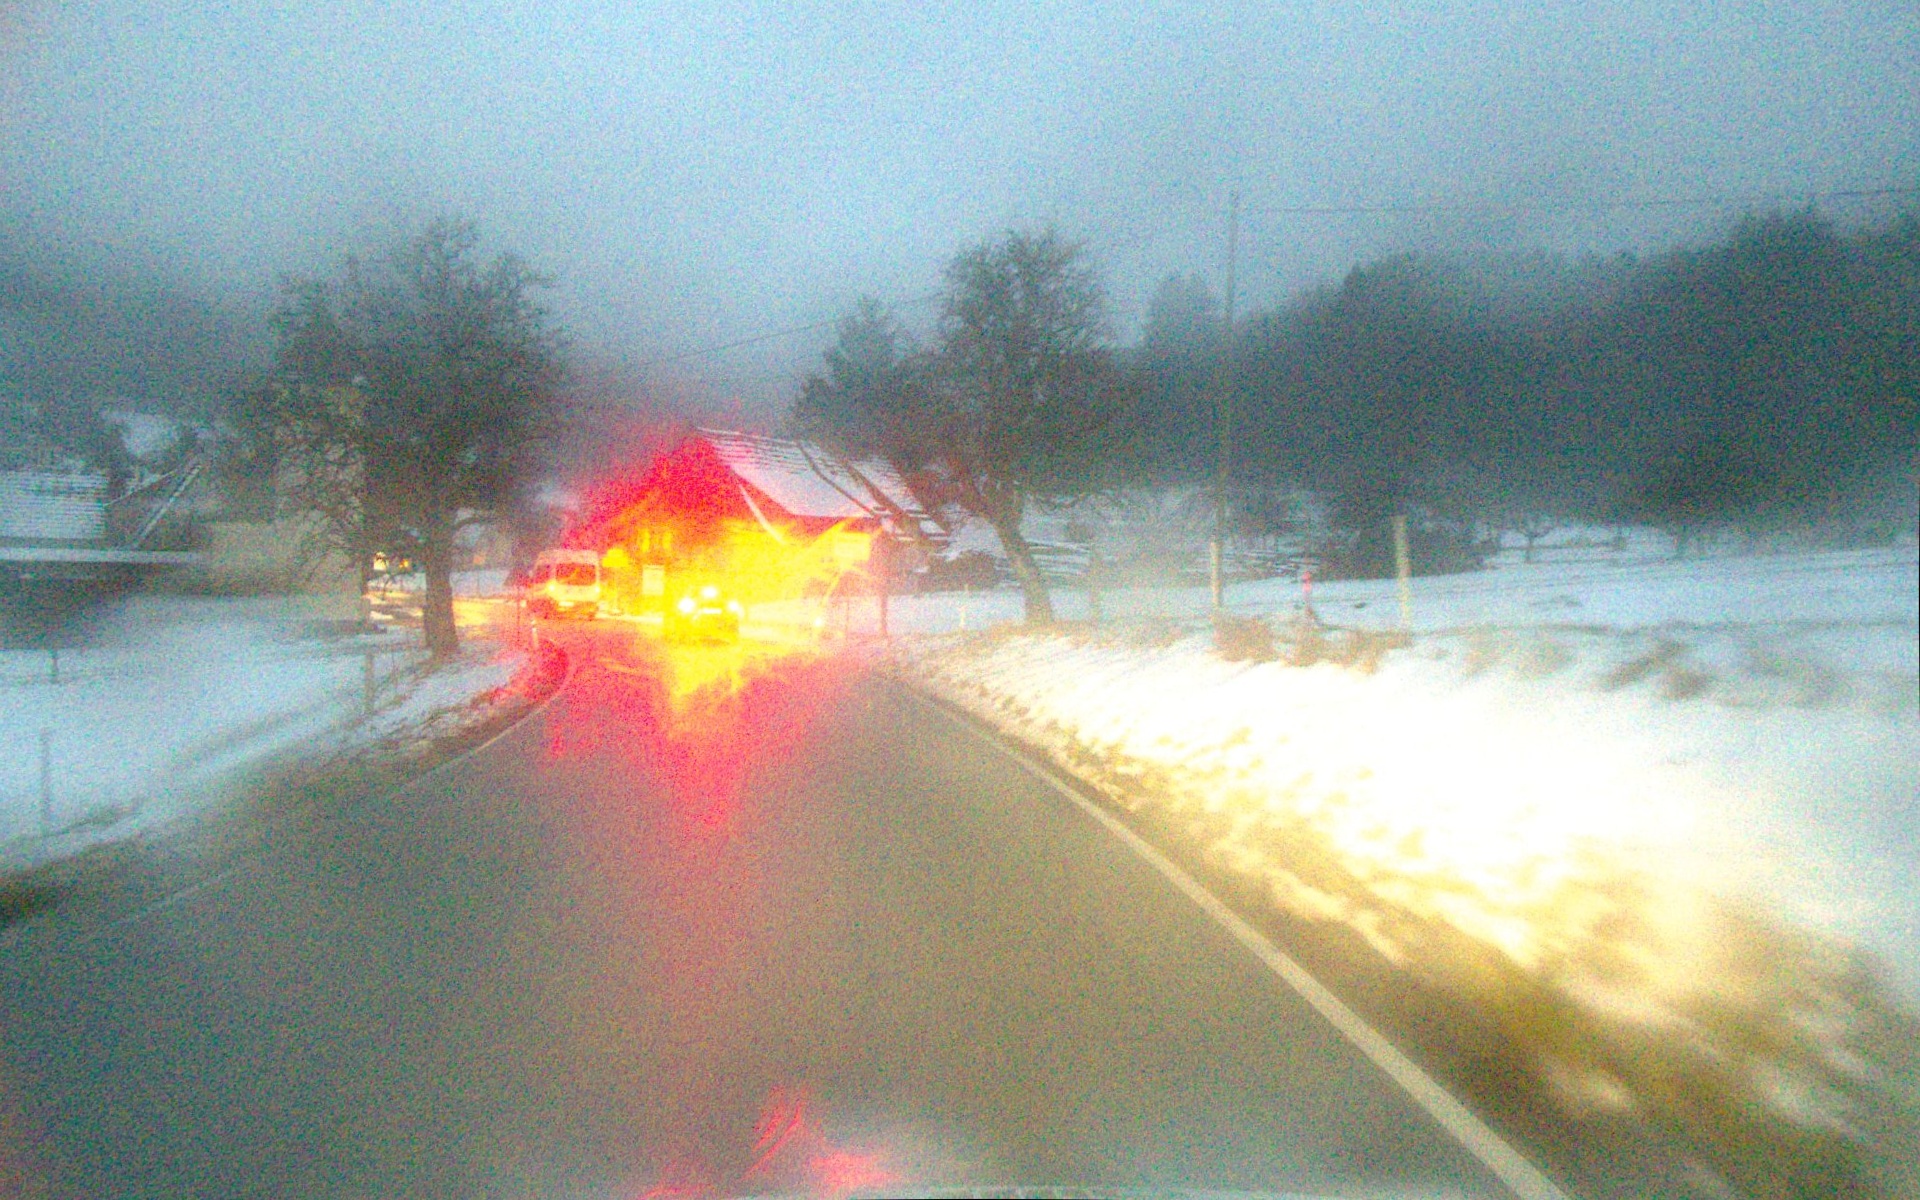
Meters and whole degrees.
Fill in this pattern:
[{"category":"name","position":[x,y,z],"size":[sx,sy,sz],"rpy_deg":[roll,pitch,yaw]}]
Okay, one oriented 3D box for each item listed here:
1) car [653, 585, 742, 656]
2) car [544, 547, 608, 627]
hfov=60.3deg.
[{"category":"car","position":[-7.456,0.555,46.626],"size":[2.234,1.873,4.991],"rpy_deg":[-1,0,-12]},{"category":"car","position":[-15.334,-0.470,66.007],"size":[2.393,3.071,5.306],"rpy_deg":[0,-1,-13]}]
